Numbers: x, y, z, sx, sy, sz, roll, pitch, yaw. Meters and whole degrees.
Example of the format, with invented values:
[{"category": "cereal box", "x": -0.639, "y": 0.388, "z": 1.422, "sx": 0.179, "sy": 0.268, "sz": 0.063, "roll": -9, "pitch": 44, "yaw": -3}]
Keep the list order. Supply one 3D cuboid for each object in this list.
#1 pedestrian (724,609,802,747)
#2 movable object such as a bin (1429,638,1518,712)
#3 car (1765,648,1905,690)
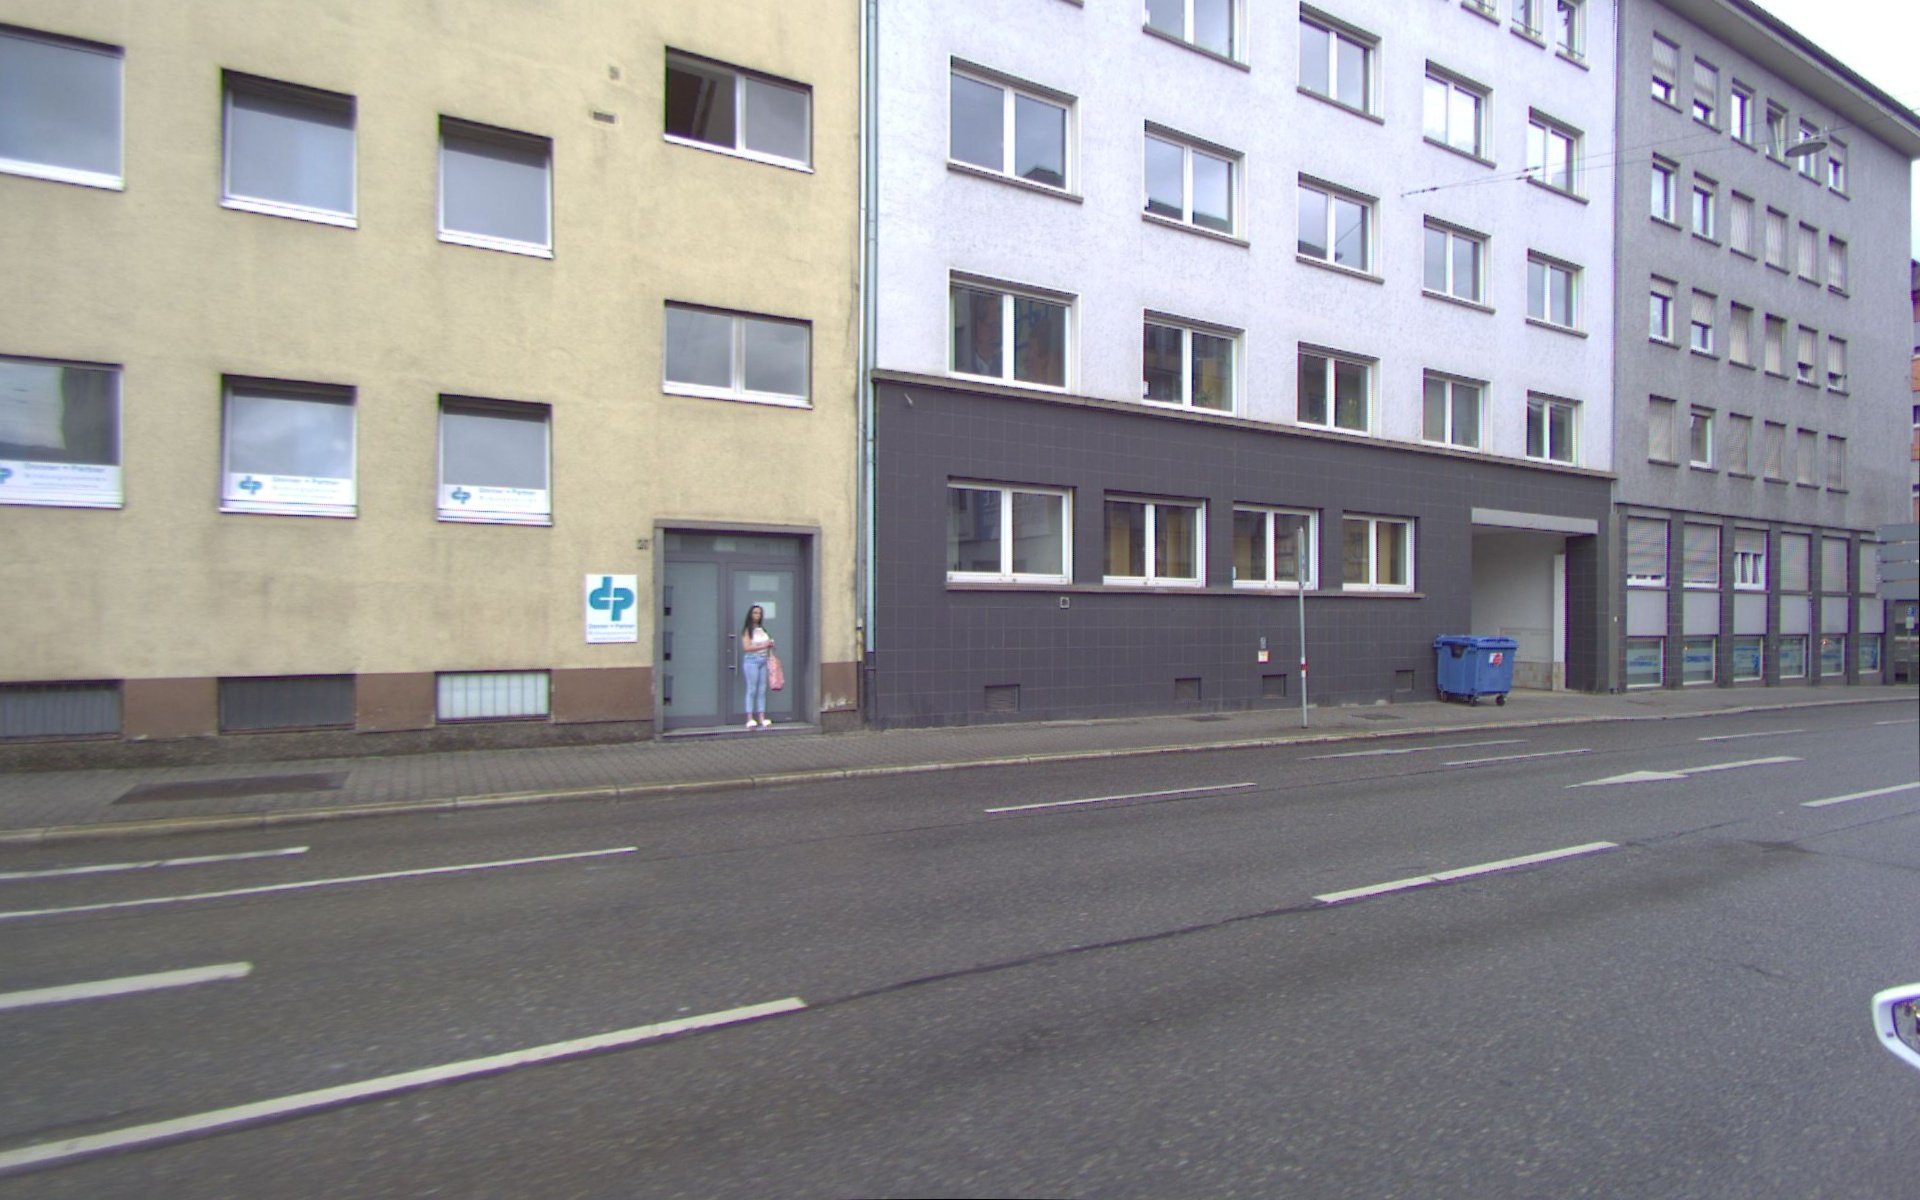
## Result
[{"category": "pedestrian", "x": -2.567, "y": 0.990, "z": 13.066, "sx": 0.801, "sy": 1.712, "sz": 0.714, "roll": 1, "pitch": 1, "yaw": -28}, {"category": "movable object such as a bin", "x": 10.081, "y": 1.440, "z": 19.739, "sx": 1.176, "sy": 1.342, "sz": 1.071, "roll": 1, "pitch": 1, "yaw": -30}, {"category": "car", "x": 36.802, "y": 2.930, "z": 42.357, "sx": 1.907, "sy": 1.673, "sz": 3.971, "roll": 1, "pitch": -5, "yaw": -29}]
